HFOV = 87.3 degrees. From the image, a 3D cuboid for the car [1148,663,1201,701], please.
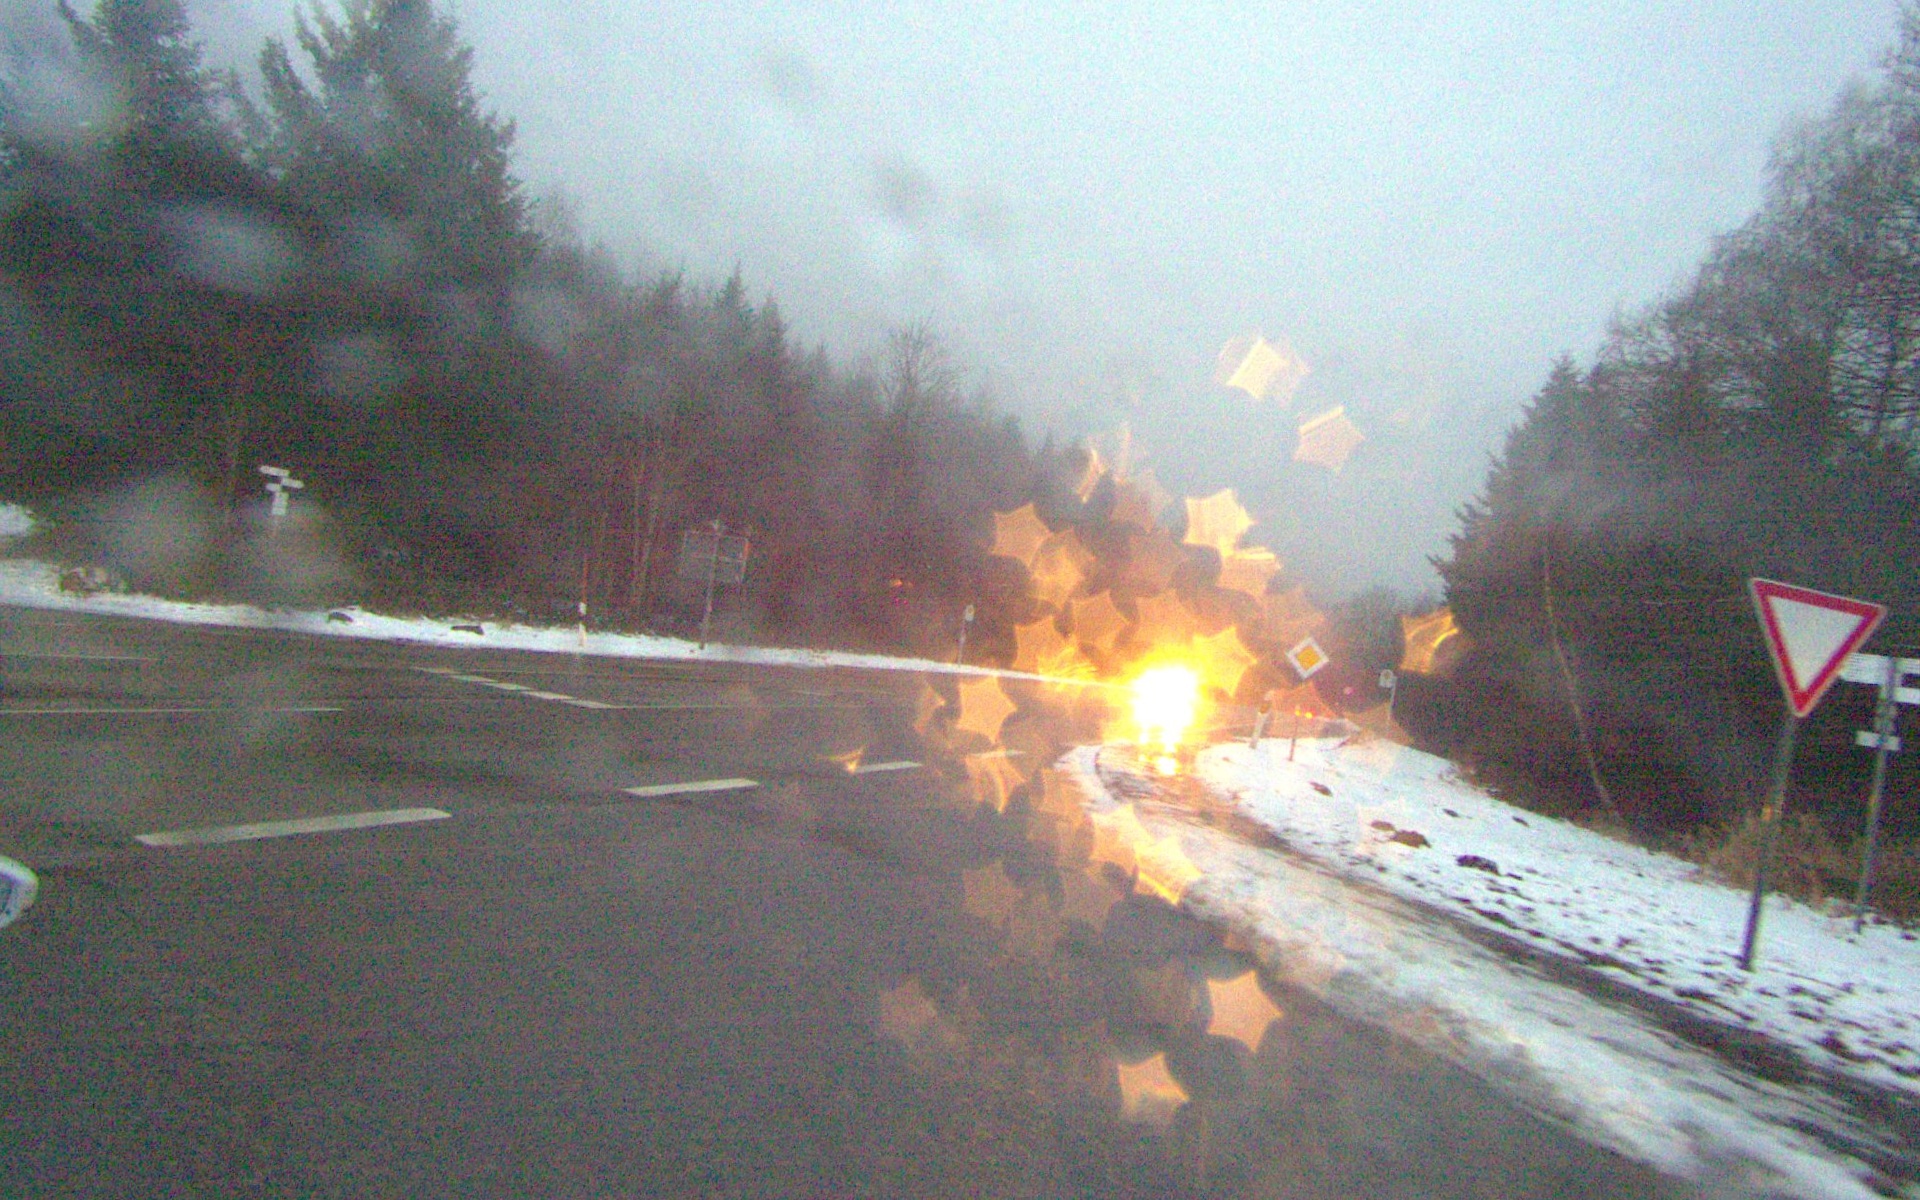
[{"bbox_3d":[9.813,3.775,45.860,1.549,1.469,3.413,7,-2,25],"label":"car"}]
